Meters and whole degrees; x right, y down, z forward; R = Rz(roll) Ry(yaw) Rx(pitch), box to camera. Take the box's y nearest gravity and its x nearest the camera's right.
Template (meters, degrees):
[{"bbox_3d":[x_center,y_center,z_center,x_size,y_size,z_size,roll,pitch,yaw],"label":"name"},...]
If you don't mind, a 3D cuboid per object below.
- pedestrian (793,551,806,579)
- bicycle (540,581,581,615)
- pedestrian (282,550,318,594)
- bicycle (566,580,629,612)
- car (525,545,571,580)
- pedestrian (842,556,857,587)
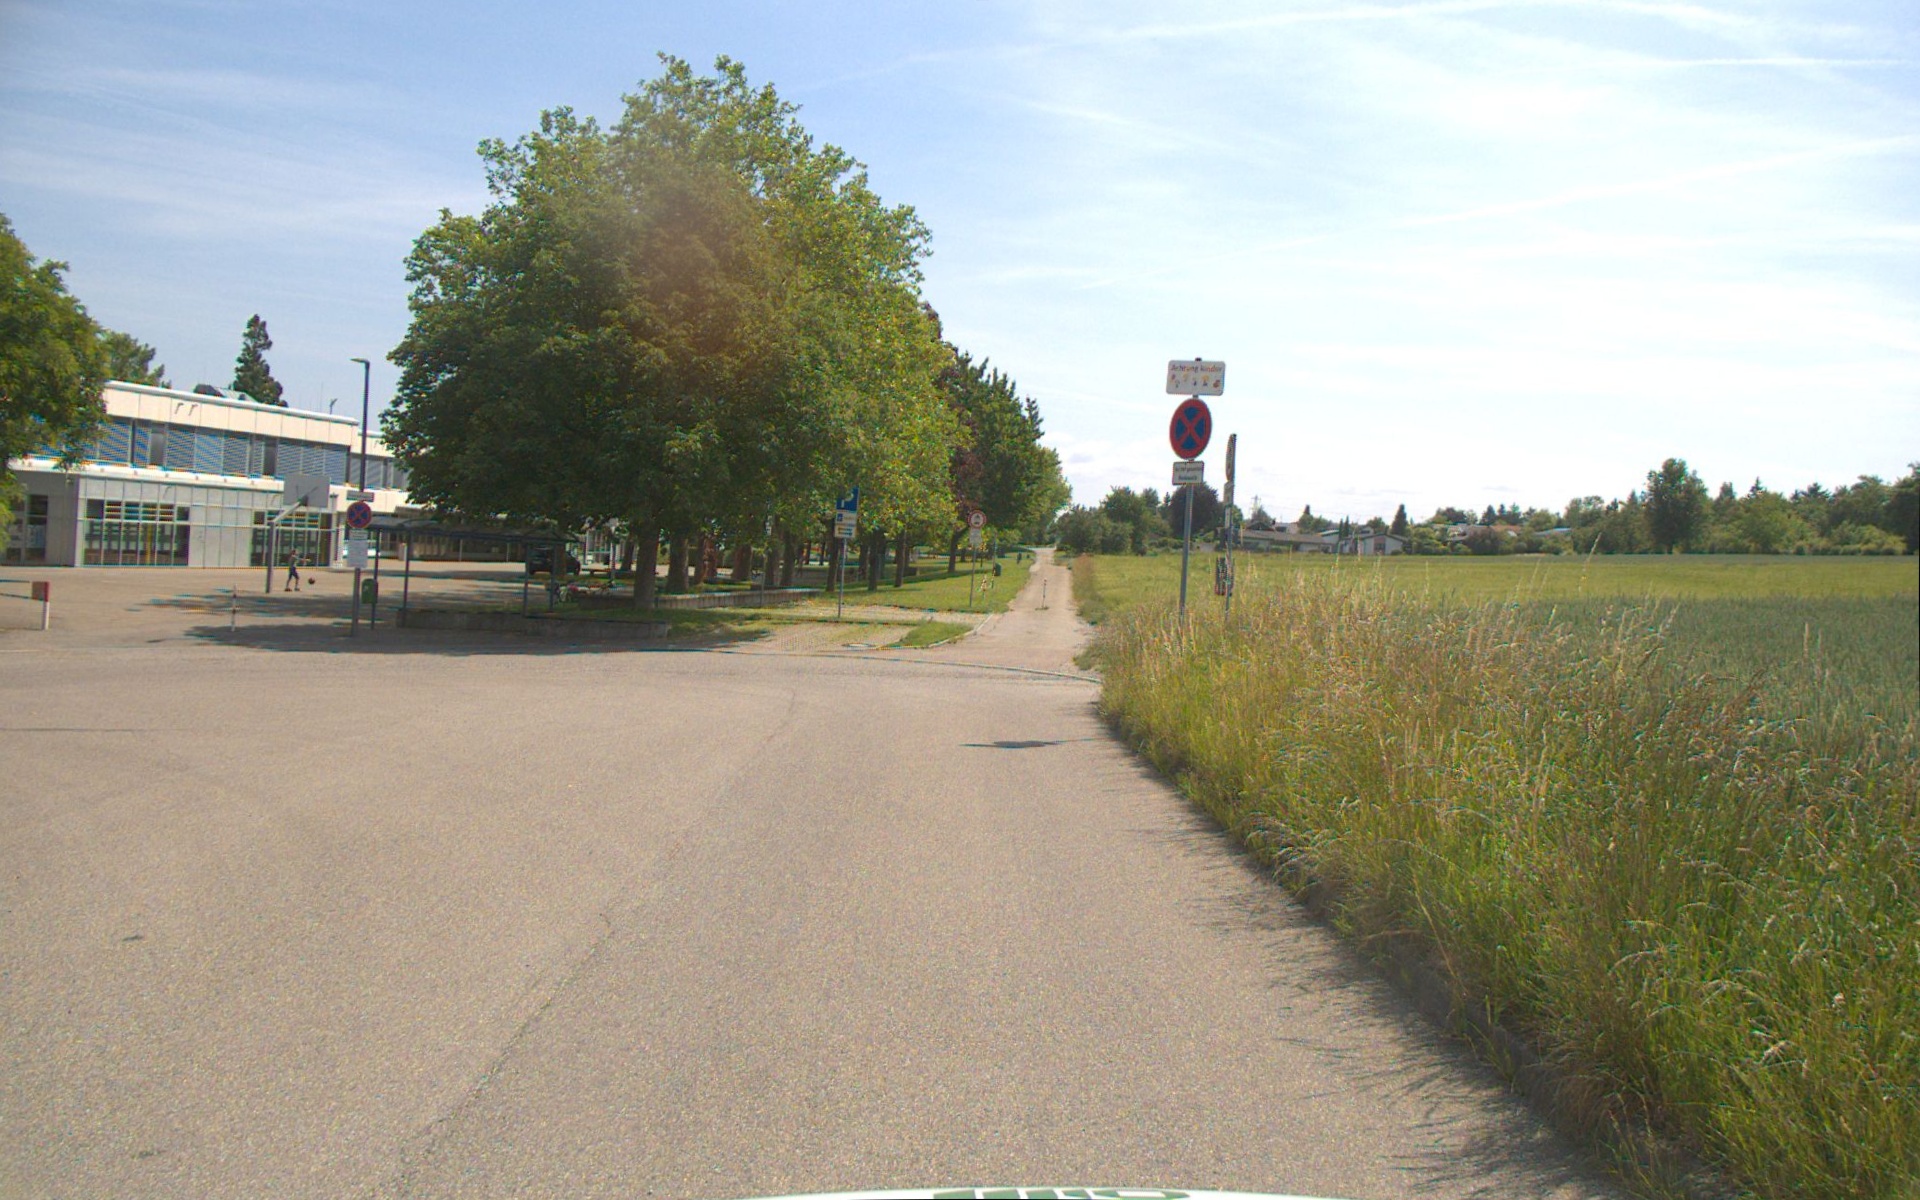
[{"bbox_3d":[-11.804,-2.563,121.785,0.818,2.048,0.689,3,0,-14],"label":"pedestrian"},{"bbox_3d":[-13.137,-0.079,54.403,0.582,1.057,1.894,2,1,10],"label":"bicycle"},{"bbox_3d":[-22.717,-0.964,56.953,1.053,1.448,0.912,2,1,-26],"label":"pedestrian"},{"bbox_3d":[-12.382,-0.137,56.496,2.022,1.057,0.571,1,1,-6],"label":"bicycle"},{"bbox_3d":[-23.302,-2.134,93.555,1.656,1.866,3.411,2,1,0],"label":"car"},{"bbox_3d":[-7.571,-1.953,113.158,0.675,2.048,0.795,2,1,-30],"label":"pedestrian"}]
